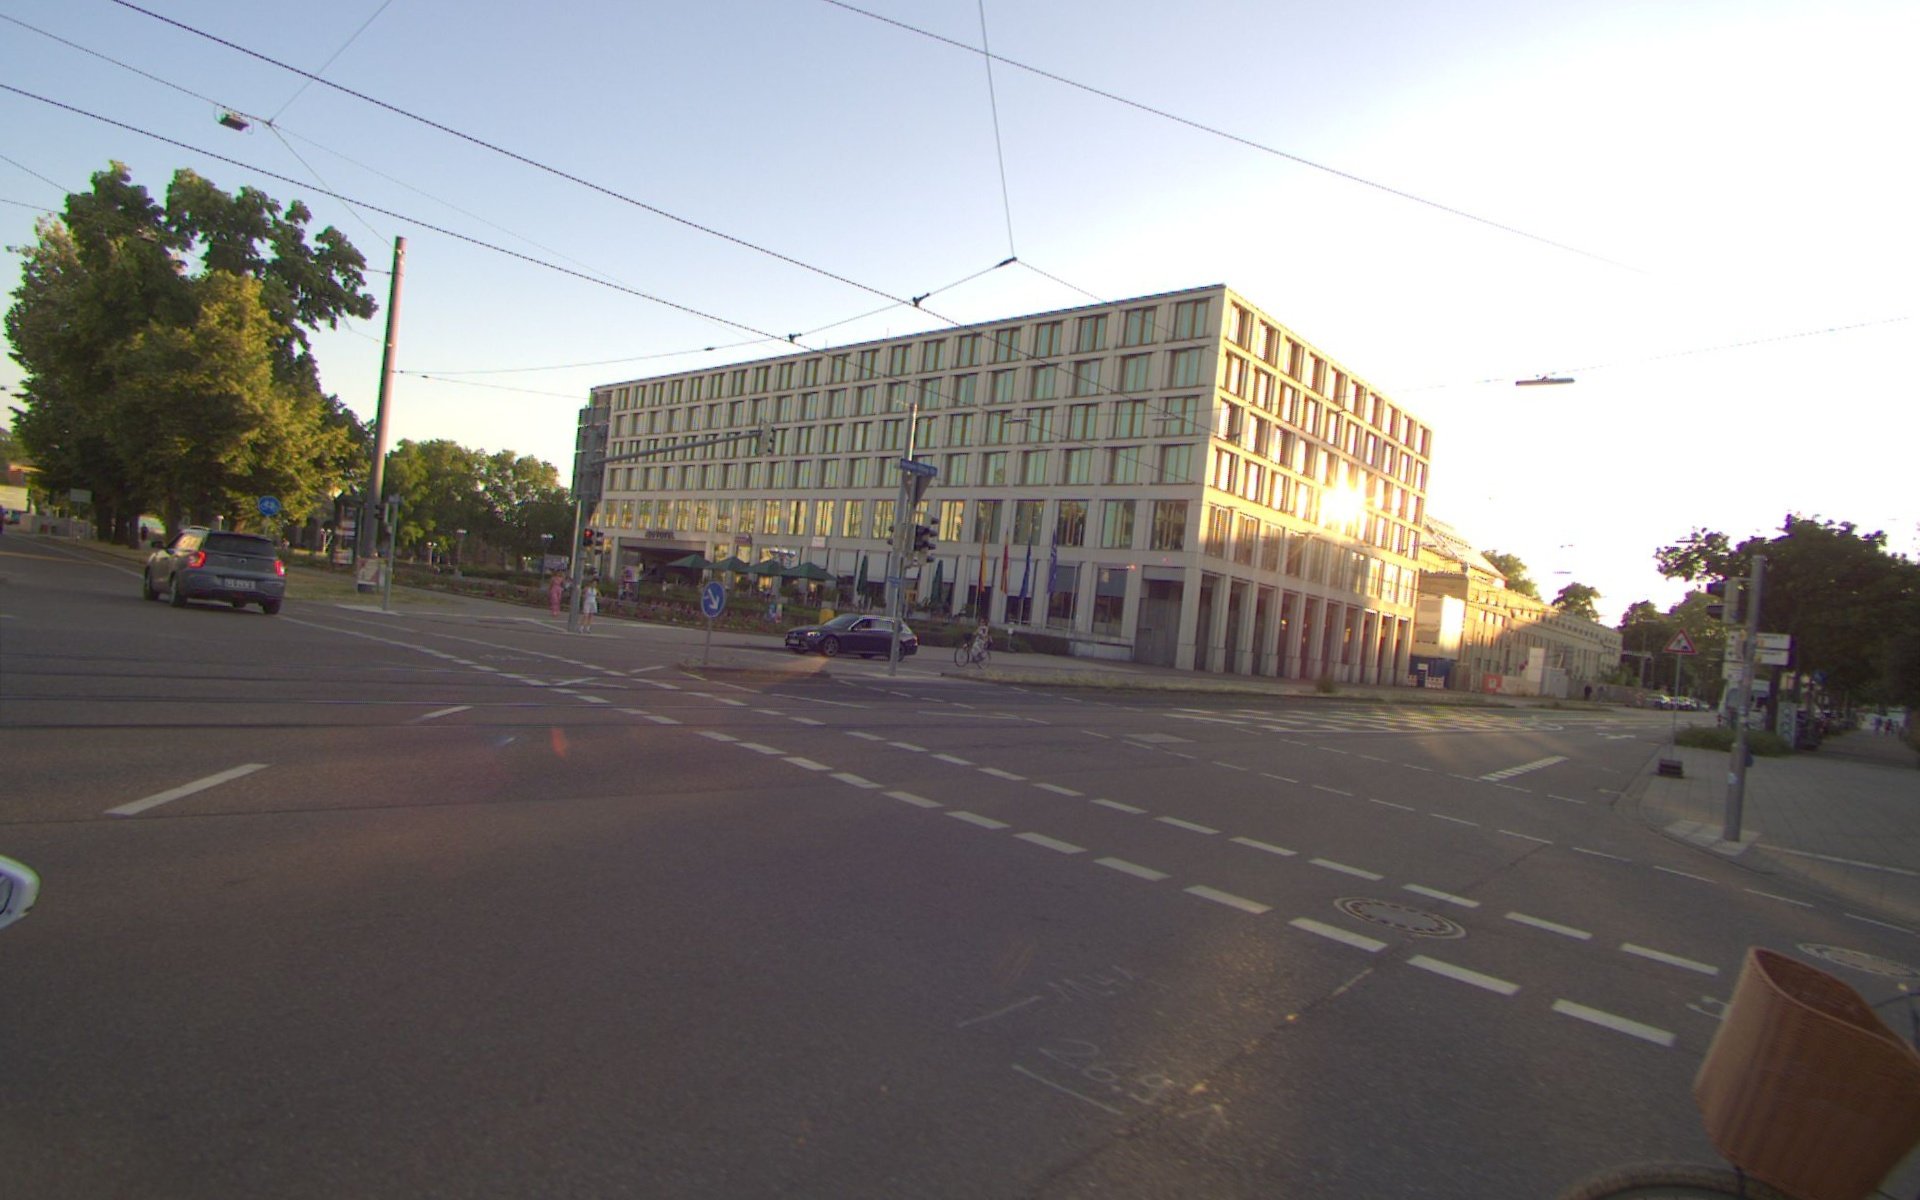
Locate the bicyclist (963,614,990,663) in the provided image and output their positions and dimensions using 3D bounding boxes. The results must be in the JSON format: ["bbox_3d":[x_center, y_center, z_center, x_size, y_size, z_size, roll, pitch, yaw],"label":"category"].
[{"bbox_3d":[0.571,1.376,35.714,0.592,1.656,0.535,6,0,-40],"label":"bicyclist"}]

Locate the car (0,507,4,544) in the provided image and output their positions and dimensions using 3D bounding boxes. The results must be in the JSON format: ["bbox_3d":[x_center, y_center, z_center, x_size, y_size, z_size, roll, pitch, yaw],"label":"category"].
[{"bbox_3d":[-61.961,-4.865,63.700,1.878,2.265,3.861,6,0,-45],"label":"car"}]

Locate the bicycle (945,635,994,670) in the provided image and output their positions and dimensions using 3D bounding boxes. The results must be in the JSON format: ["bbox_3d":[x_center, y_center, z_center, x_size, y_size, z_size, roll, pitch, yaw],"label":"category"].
[{"bbox_3d":[0.349,1.858,35.564,1.748,1.064,0.534,7,-1,-41],"label":"bicycle"}]

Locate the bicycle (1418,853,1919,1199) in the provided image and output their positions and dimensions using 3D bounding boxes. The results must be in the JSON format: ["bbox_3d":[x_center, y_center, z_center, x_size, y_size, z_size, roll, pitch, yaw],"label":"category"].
[{"bbox_3d":[1.779,1.175,1.396,2.052,1.128,0.608,6,0,32],"label":"bicycle"}]

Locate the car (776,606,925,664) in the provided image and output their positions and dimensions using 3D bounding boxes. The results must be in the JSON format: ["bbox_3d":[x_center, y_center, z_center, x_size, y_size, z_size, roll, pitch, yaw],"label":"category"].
[{"bbox_3d":[-3.629,1.196,34.003,4.777,1.540,1.797,7,-3,-42],"label":"car"}]

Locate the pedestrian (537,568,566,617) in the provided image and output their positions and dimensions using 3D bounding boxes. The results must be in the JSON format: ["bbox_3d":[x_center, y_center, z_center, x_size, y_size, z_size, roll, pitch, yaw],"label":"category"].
[{"bbox_3d":[-14.544,-0.268,35.872,0.714,1.646,0.736,6,0,-14],"label":"pedestrian"}]

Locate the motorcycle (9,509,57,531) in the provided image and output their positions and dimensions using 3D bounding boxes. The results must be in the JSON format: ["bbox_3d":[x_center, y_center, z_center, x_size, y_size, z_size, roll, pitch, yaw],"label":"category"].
[{"bbox_3d":[-93.441,-8.057,101.457,3.476,1.776,0.914,7,-1,-44],"label":"motorcycle"}]

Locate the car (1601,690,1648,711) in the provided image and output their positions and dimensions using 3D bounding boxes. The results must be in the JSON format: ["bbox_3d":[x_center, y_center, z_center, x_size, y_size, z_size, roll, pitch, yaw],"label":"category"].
[{"bbox_3d":[69.807,10.518,105.702,3.759,1.669,1.853,5,-1,44],"label":"car"}]

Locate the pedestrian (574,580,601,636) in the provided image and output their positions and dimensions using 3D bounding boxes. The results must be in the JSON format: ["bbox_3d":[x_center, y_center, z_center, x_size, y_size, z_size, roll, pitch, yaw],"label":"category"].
[{"bbox_3d":[-11.465,0.239,30.973,0.531,1.646,0.623,6,0,-29],"label":"pedestrian"}]

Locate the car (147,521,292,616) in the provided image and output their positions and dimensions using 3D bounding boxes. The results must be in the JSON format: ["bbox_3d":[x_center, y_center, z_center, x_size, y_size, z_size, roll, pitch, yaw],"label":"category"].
[{"bbox_3d":[-15.504,-0.696,20.984,4.036,1.625,1.689,5,0,44],"label":"car"}]

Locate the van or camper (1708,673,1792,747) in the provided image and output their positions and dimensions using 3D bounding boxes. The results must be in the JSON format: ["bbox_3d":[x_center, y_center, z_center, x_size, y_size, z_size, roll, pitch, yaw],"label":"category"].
[{"bbox_3d":[33.482,4.667,42.575,2.085,2.714,4.683,6,-1,45],"label":"van or camper"}]
